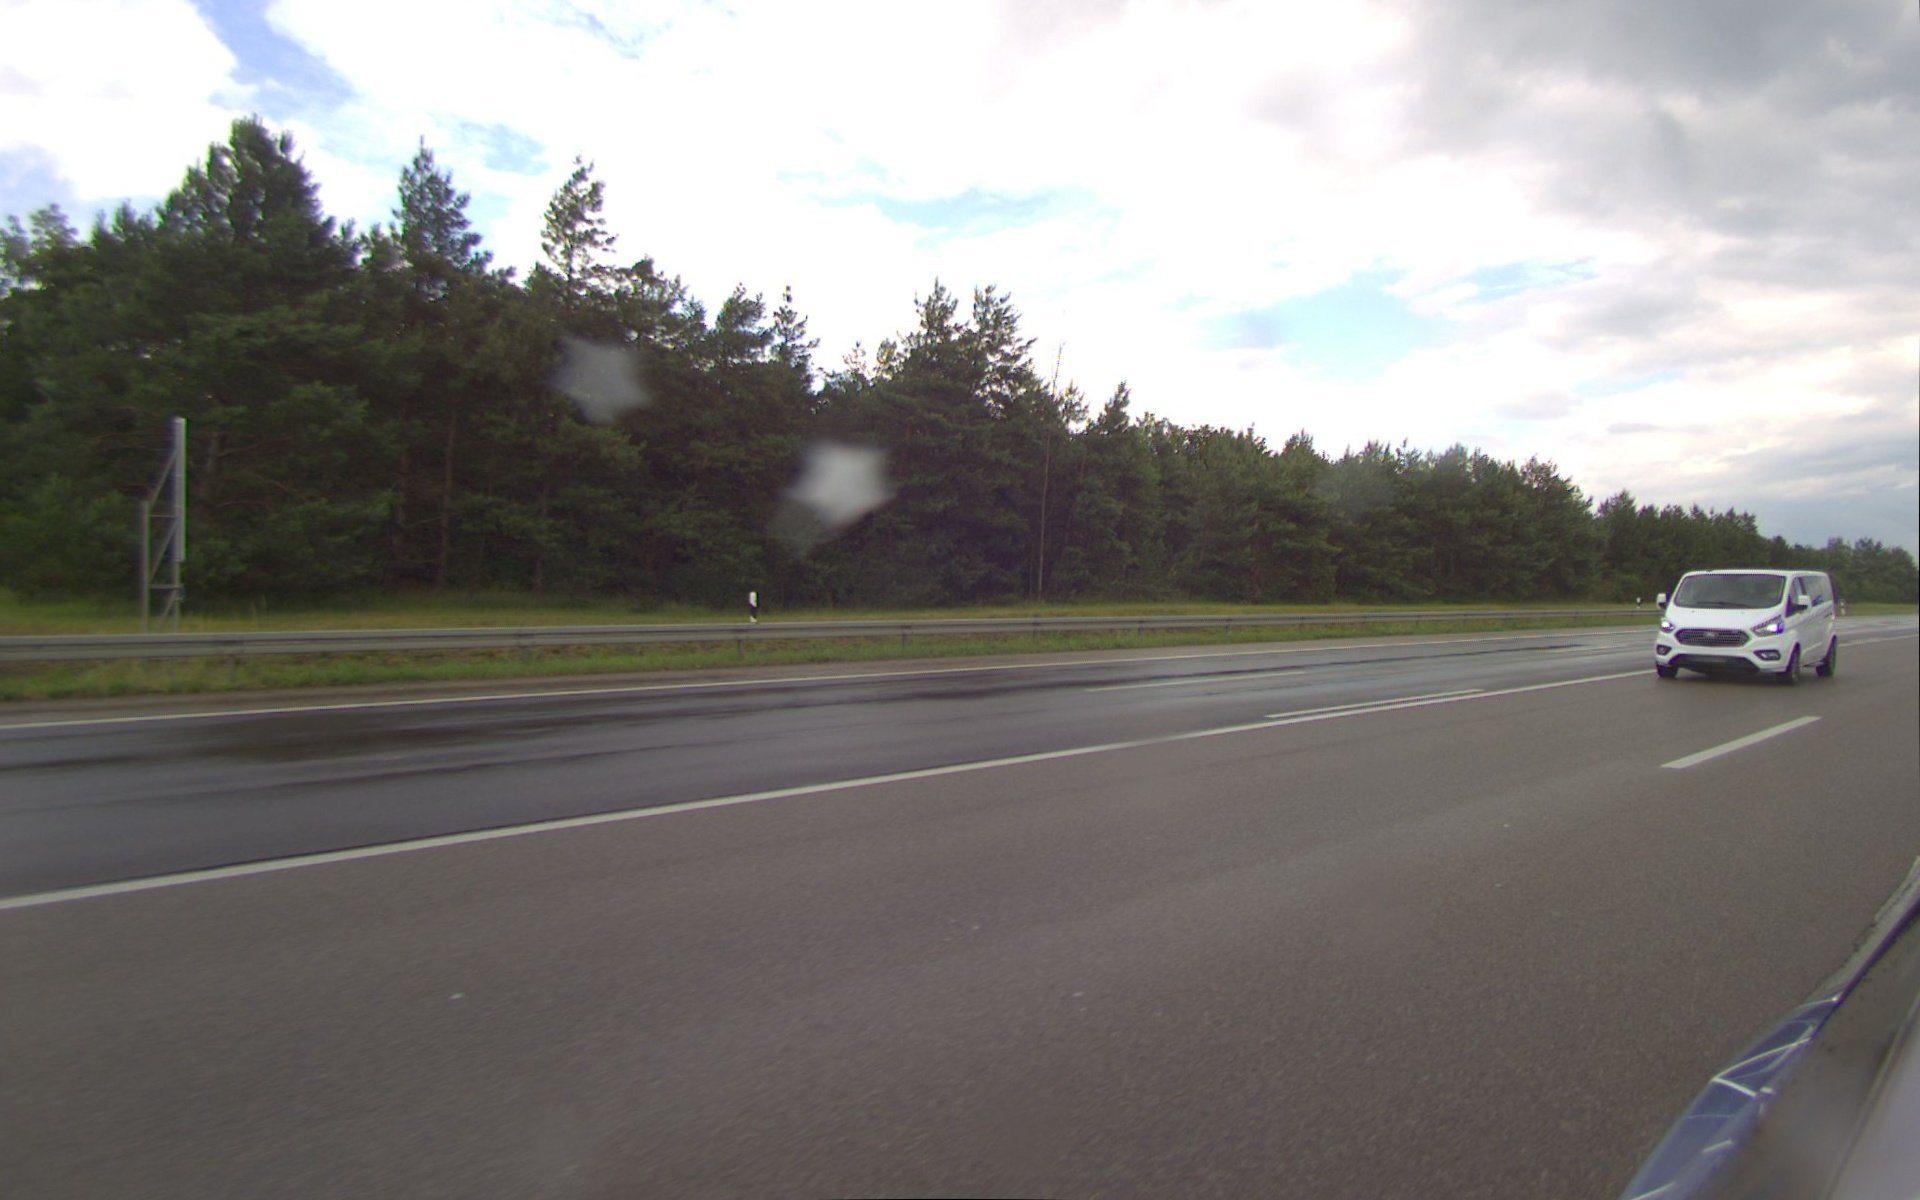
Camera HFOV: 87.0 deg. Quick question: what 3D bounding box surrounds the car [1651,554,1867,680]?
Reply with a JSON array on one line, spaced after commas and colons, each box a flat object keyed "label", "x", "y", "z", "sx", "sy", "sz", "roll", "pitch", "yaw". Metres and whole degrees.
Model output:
[{"label": "car", "x": 14.958, "y": 0.263, "z": 18.826, "sx": 5.383, "sy": 2.039, "sz": 1.998, "roll": 0, "pitch": 0, "yaw": -39}]
